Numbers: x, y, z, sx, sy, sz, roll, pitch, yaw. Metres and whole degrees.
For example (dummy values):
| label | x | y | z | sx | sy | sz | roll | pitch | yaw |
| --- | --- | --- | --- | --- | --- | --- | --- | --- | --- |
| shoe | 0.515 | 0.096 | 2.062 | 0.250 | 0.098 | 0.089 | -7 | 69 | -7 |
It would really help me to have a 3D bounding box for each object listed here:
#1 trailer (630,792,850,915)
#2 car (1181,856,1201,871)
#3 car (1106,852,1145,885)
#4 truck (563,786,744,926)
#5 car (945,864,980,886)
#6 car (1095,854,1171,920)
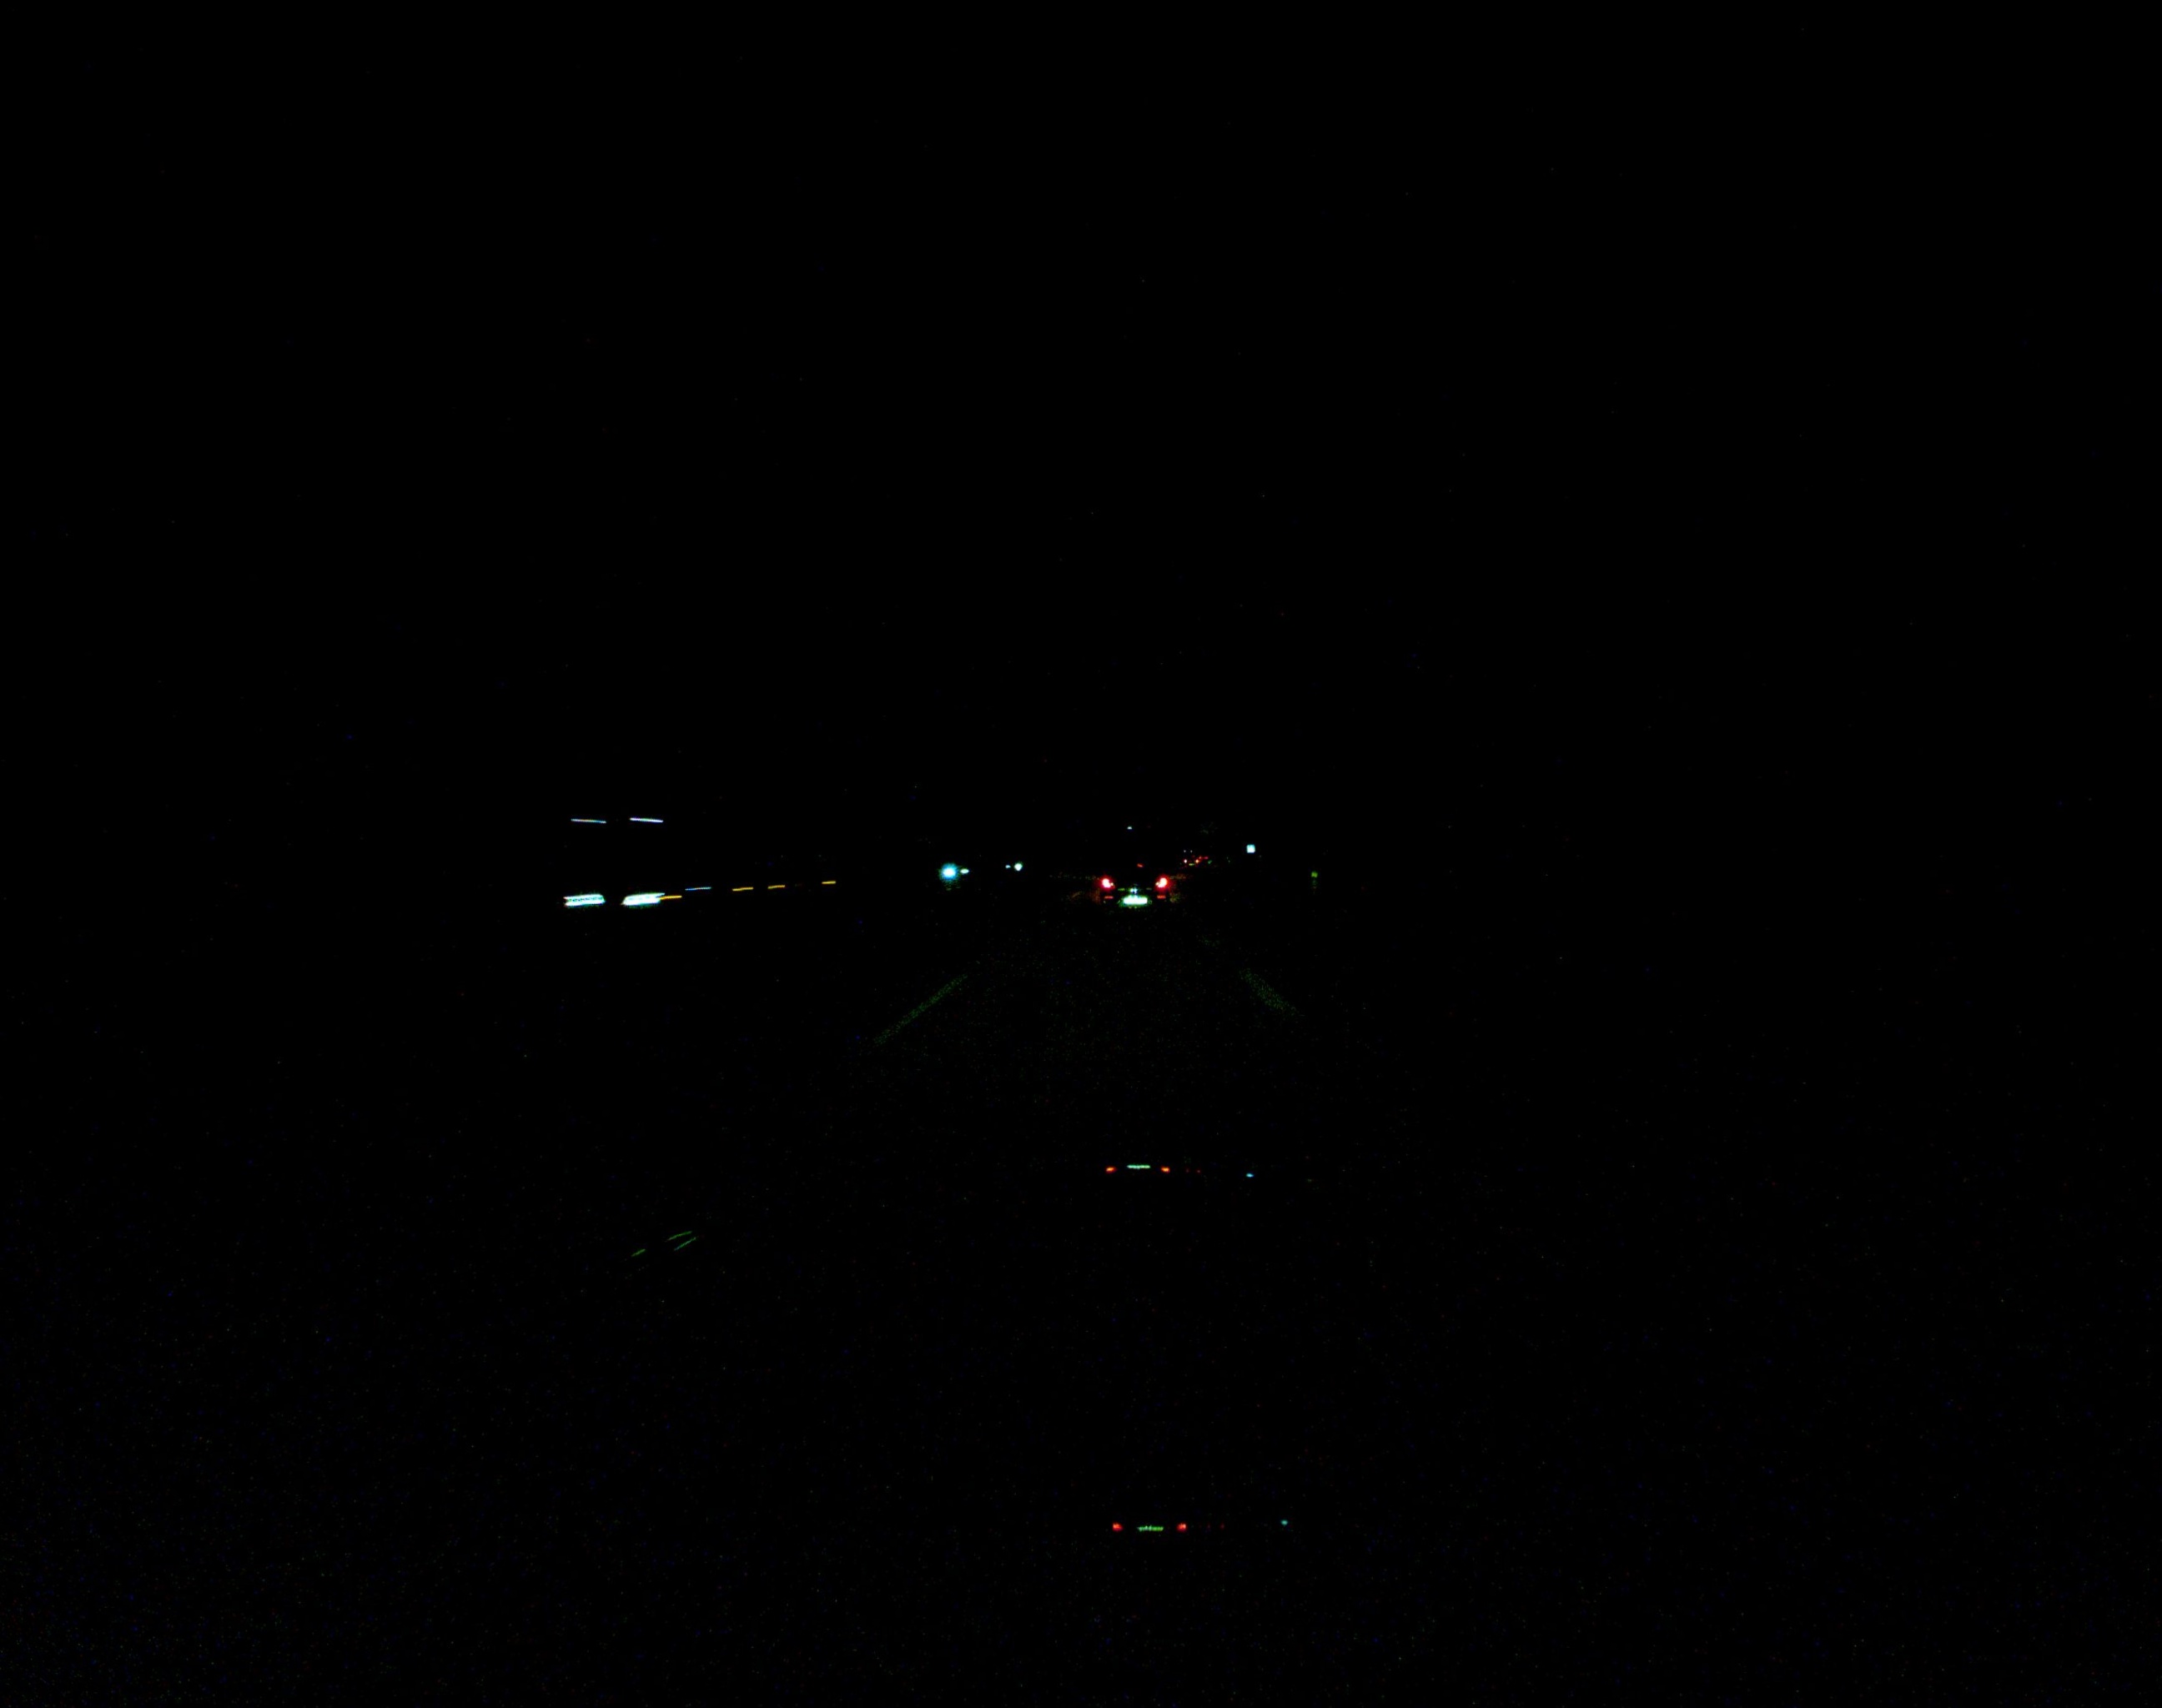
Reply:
| label | x | y | z | sx | sy | sz | roll | pitch | yaw |
| --- | --- | --- | --- | --- | --- | --- | --- | --- | --- |
| trailer | -13.673 | -0.022 | 34.820 | 2.664 | 4.150 | 13.760 | -2 | 0 | 4 |
| car | 12.752 | 1.109 | 94.580 | 1.727 | 1.618 | 3.799 | -1 | 0 | 1 |
| car | 2.304 | 0.737 | 43.119 | 1.933 | 1.608 | 4.646 | -1 | 0 | 2 |
| truck | -14.177 | 0.053 | 27.615 | 2.664 | 4.177 | 5.874 | -2 | 0 | 4 |
| car | -9.920 | 1.710 | 68.247 | 1.984 | 1.684 | 4.005 | -2 | 0 | 5 |
| car | 1.265 | 0.756 | 20.467 | 1.684 | 1.478 | 4.002 | -1 | 0 | 2 |
